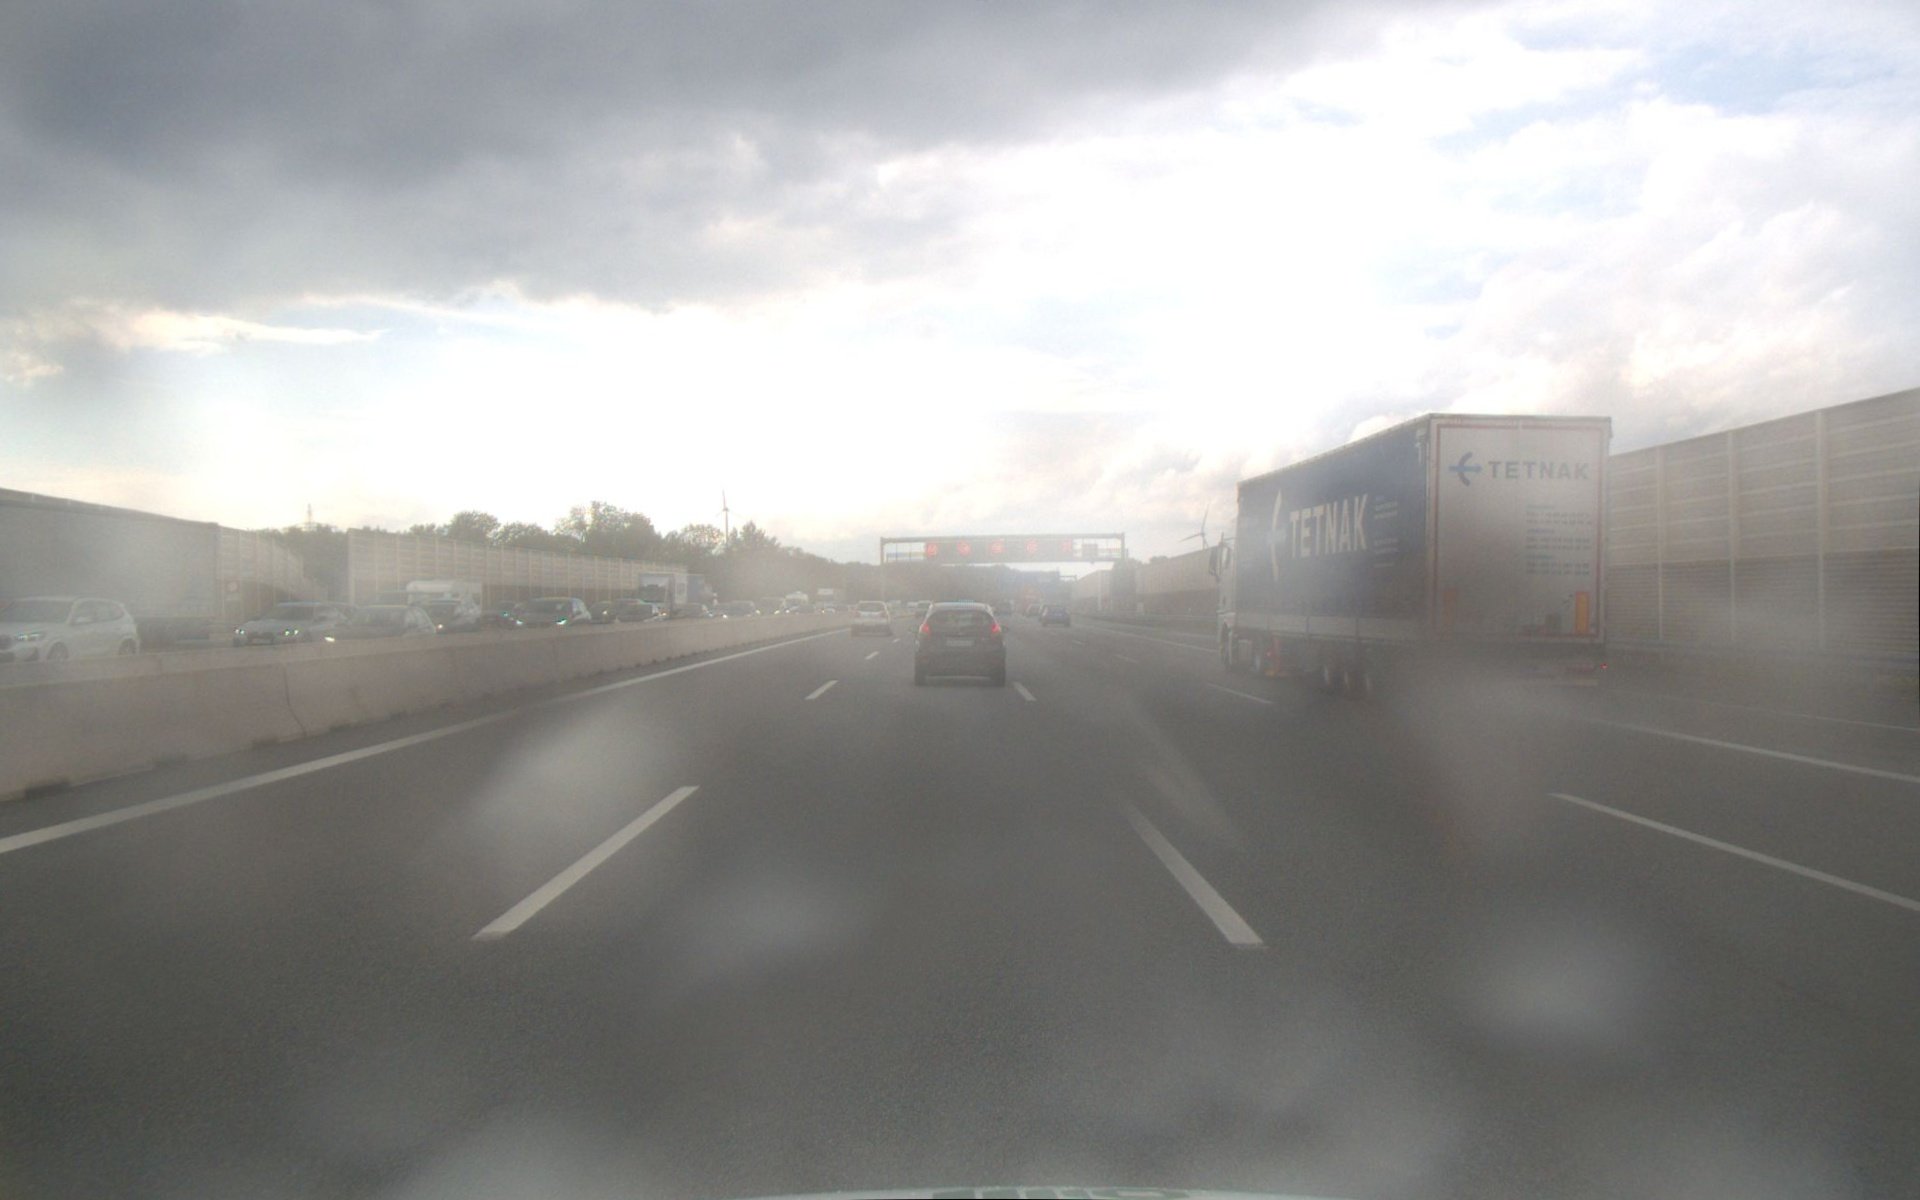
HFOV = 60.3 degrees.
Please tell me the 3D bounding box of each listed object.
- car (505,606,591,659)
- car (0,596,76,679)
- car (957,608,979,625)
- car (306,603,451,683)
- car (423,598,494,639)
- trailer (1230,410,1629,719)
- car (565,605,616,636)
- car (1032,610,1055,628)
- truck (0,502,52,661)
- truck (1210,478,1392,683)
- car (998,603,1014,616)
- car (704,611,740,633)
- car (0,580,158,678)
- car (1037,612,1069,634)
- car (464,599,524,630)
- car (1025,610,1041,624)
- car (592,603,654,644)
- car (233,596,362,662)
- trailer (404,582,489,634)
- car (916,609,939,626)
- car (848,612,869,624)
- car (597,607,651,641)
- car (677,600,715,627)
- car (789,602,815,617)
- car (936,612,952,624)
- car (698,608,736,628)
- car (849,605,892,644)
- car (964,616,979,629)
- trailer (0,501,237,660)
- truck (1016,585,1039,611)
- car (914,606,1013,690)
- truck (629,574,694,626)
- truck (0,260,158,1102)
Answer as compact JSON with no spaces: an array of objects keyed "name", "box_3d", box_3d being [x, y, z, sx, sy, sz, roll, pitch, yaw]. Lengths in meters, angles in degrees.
[{"name":"car","box_3d":[-14.361,1.098,57.948,1.916,1.729,4.891,0,0,-2]},{"name":"car","box_3d":[-22.418,0.826,37.753,2.019,1.848,4.776,0,0,-2]},{"name":"car","box_3d":[0.735,1.542,153.537,1.927,1.588,4.433,0,-1,2]},{"name":"car","box_3d":[-14.306,1.011,40.991,2.019,1.848,4.776,0,0,-2]},{"name":"car","box_3d":[-21.991,0.780,72.698,1.916,1.729,4.409,0,0,-2]},{"name":"trailer","box_3d":[7.459,-0.420,29.340,2.705,4.102,14.448,1,0,-1]},{"name":"car","box_3d":[-21.829,1.184,97.934,2.019,1.729,5.086,0,0,-2]},{"name":"car","box_3d":[7.340,1.686,145.858,1.843,1.569,4.433,0,-1,1]},{"name":"truck","box_3d":[-26.095,-0.490,42.150,2.688,4.105,5.725,1,0,0]},{"name":"truck","box_3d":[7.322,-0.376,36.263,2.689,4.105,5.724,1,0,-1]},{"name":"car","box_3d":[6.163,1.282,221.099,1.927,1.588,4.434,0,-1,3]},{"name":"car","box_3d":[-18.158,1.682,126.347,2.018,1.628,4.997,0,-1,0]},{"name":"car","box_3d":[-18.362,0.539,33.486,2.019,1.848,4.776,0,0,-2]},{"name":"car","box_3d":[6.252,1.562,111.333,1.910,1.443,4.231,0,-1,0]},{"name":"car","box_3d":[-26.146,0.796,92.974,2.019,1.729,5.087,0,0,-1]},{"name":"car","box_3d":[8.524,2.045,193.433,1.843,1.588,4.433,0,-1,2]},{"name":"car","box_3d":[-14.768,1.005,72.695,1.916,1.729,4.409,0,0,-2]},{"name":"car","box_3d":[-18.306,0.757,45.920,1.916,1.729,4.409,0,0,-2]},{"name":"trailer","box_3d":[-26.012,0.407,84.039,2.409,2.539,6.085,0,0,0]},{"name":"car","box_3d":[-3.151,1.724,160.621,1.927,1.588,4.433,0,-1,2]},{"name":"car","box_3d":[-12.413,2.221,202.489,2.017,1.517,4.998,0,-1,2]},{"name":"car","box_3d":[-18.155,1.276,89.623,2.019,1.729,5.086,0,0,-2]},{"name":"car","box_3d":[-18.014,0.906,112.929,1.835,1.729,5.014,0,0,-1]},{"name":"car","box_3d":[-16.284,1.001,171.005,2.017,1.517,4.998,0,-1,2]},{"name":"car","box_3d":[-2.114,2.365,220.139,1.927,1.588,4.433,0,-1,2]},{"name":"car","box_3d":[-18.549,1.395,126.431,2.017,1.517,4.998,0,-1,2]},{"name":"car","box_3d":[-3.894,1.038,72.443,1.682,1.652,4.277,0,0,-1]},{"name":"car","box_3d":[1.549,2.995,220.886,1.927,1.588,4.433,0,-1,1]},{"name":"trailer","box_3d":[-26.043,-0.467,49.117,2.704,4.102,14.452,1,0,0]},{"name":"truck","box_3d":[9.928,-0.209,244.213,3.087,3.665,12.702,1,0,2]},{"name":"car","box_3d":[0.003,0.837,30.854,1.683,1.442,4.277,0,0,-2]},{"name":"truck","box_3d":[-21.766,0.049,121.071,2.640,3.589,9.996,1,0,1]},{"name":"truck","box_3d":[-3.908,0.222,2.218,2.260,2.482,7.146,1,0,-1]}]
